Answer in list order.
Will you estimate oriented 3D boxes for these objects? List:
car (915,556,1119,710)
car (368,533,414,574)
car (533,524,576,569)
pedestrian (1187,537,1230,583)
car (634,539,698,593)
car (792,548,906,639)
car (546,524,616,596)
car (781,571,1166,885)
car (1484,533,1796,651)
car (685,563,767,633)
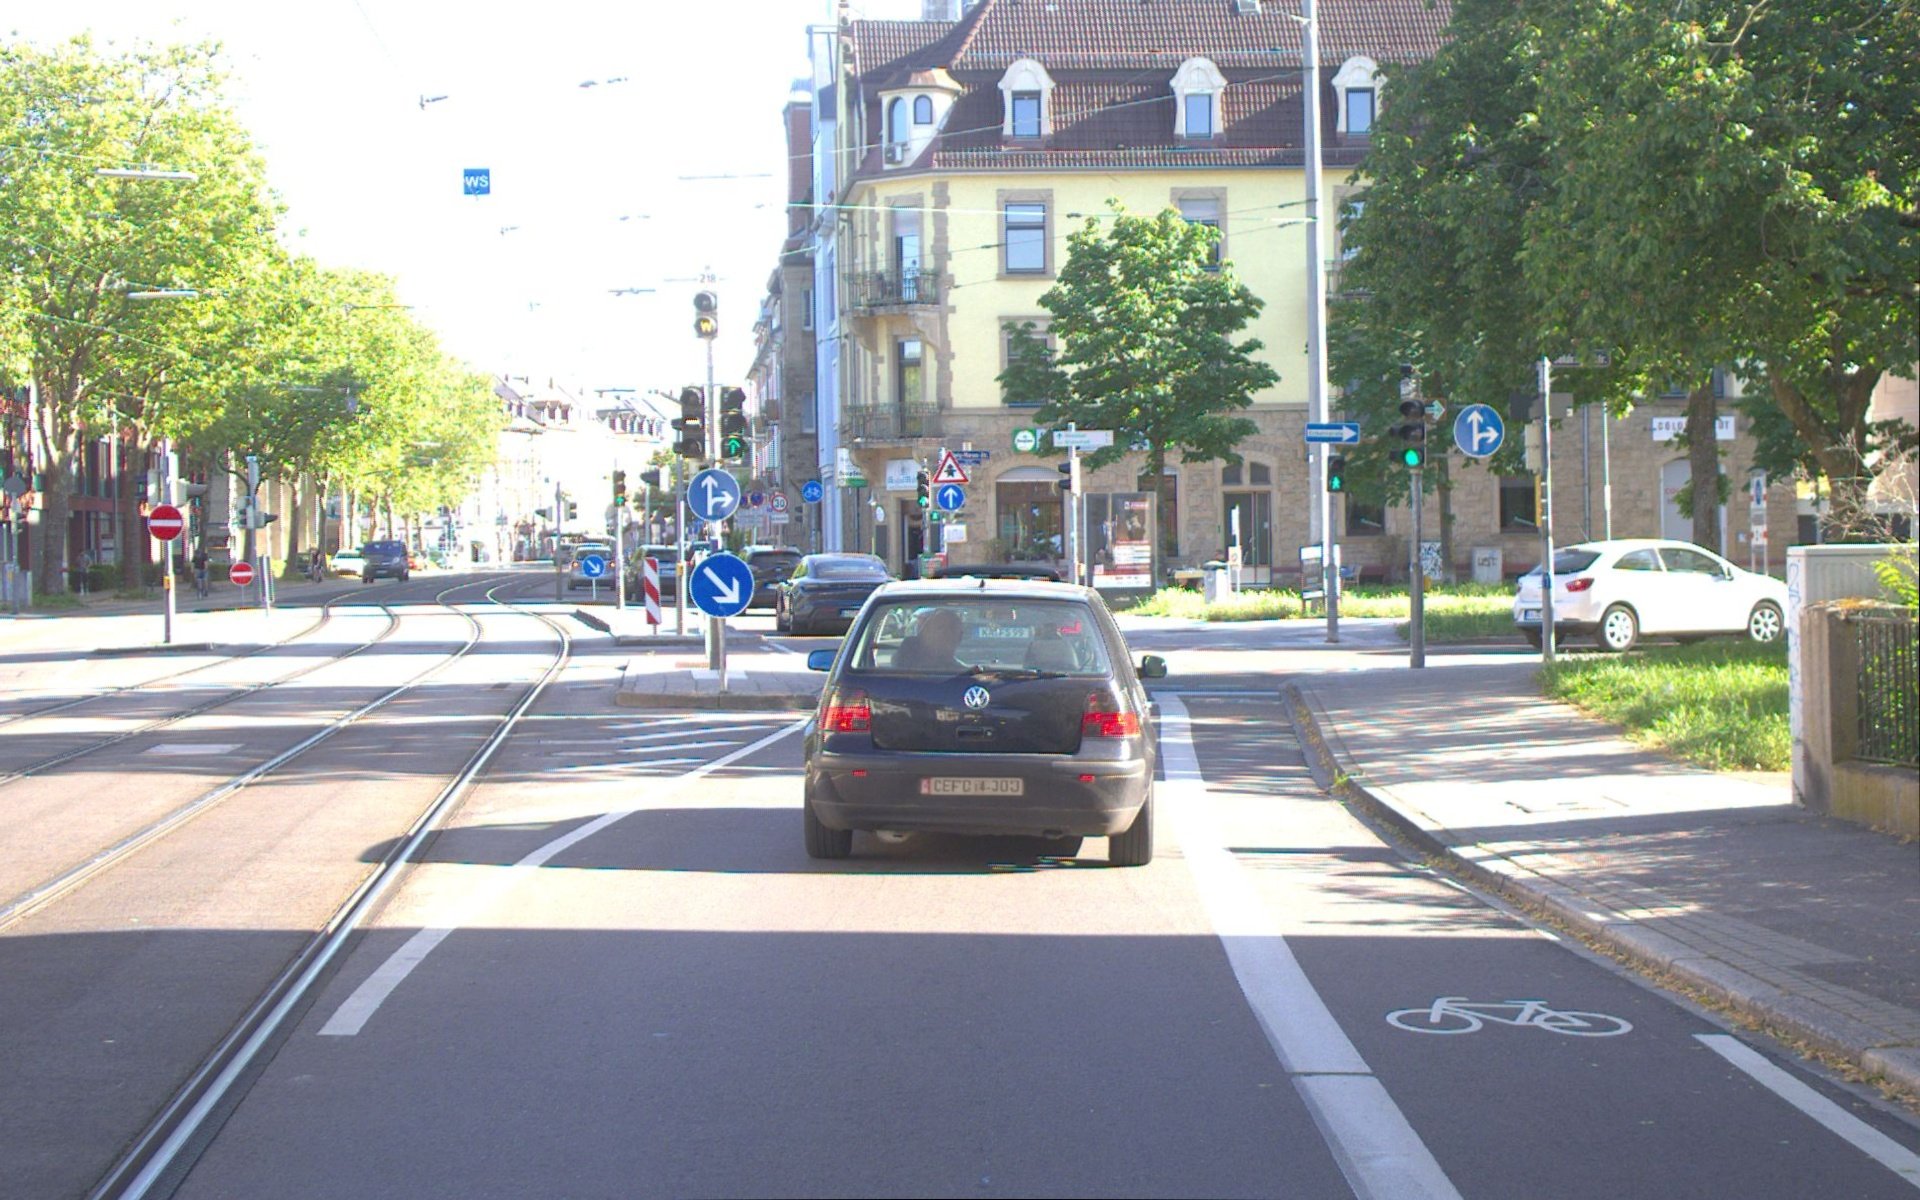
[{"bbox_3d":[0.505,0.278,33.746,1.634,1.367,3.758,-1,1,-4],"label":"car"},{"bbox_3d":[-25.817,-2.116,156.043,1.971,1.809,4.298,-1,1,-9],"label":"car"},{"bbox_3d":[-17.479,-2.317,148.227,1.787,1.853,4.001,-1,1,-7],"label":"car"},{"bbox_3d":[6.522,-1.062,90.281,0.979,1.183,0.743,-1,1,-5],"label":"pedestrian"},{"bbox_3d":[-8.366,-0.977,97.553,1.680,1.448,3.380,-1,1,-7],"label":"car"},{"bbox_3d":[-1.897,-0.132,58.079,1.569,1.306,3.648,-1,3,-7],"label":"car"},{"bbox_3d":[-10.048,-1.076,91.018,1.787,1.853,4.001,0,1,-7],"label":"car"},{"bbox_3d":[0.180,0.570,17.871,1.716,1.398,4.006,1,1,4],"label":"car"},{"bbox_3d":[8.938,-0.125,45.163,3.797,1.436,1.745,-2,1,-30],"label":"car"},{"bbox_3d":[-5.147,-0.059,75.272,1.569,1.306,3.501,-1,3,-7],"label":"car"}]
